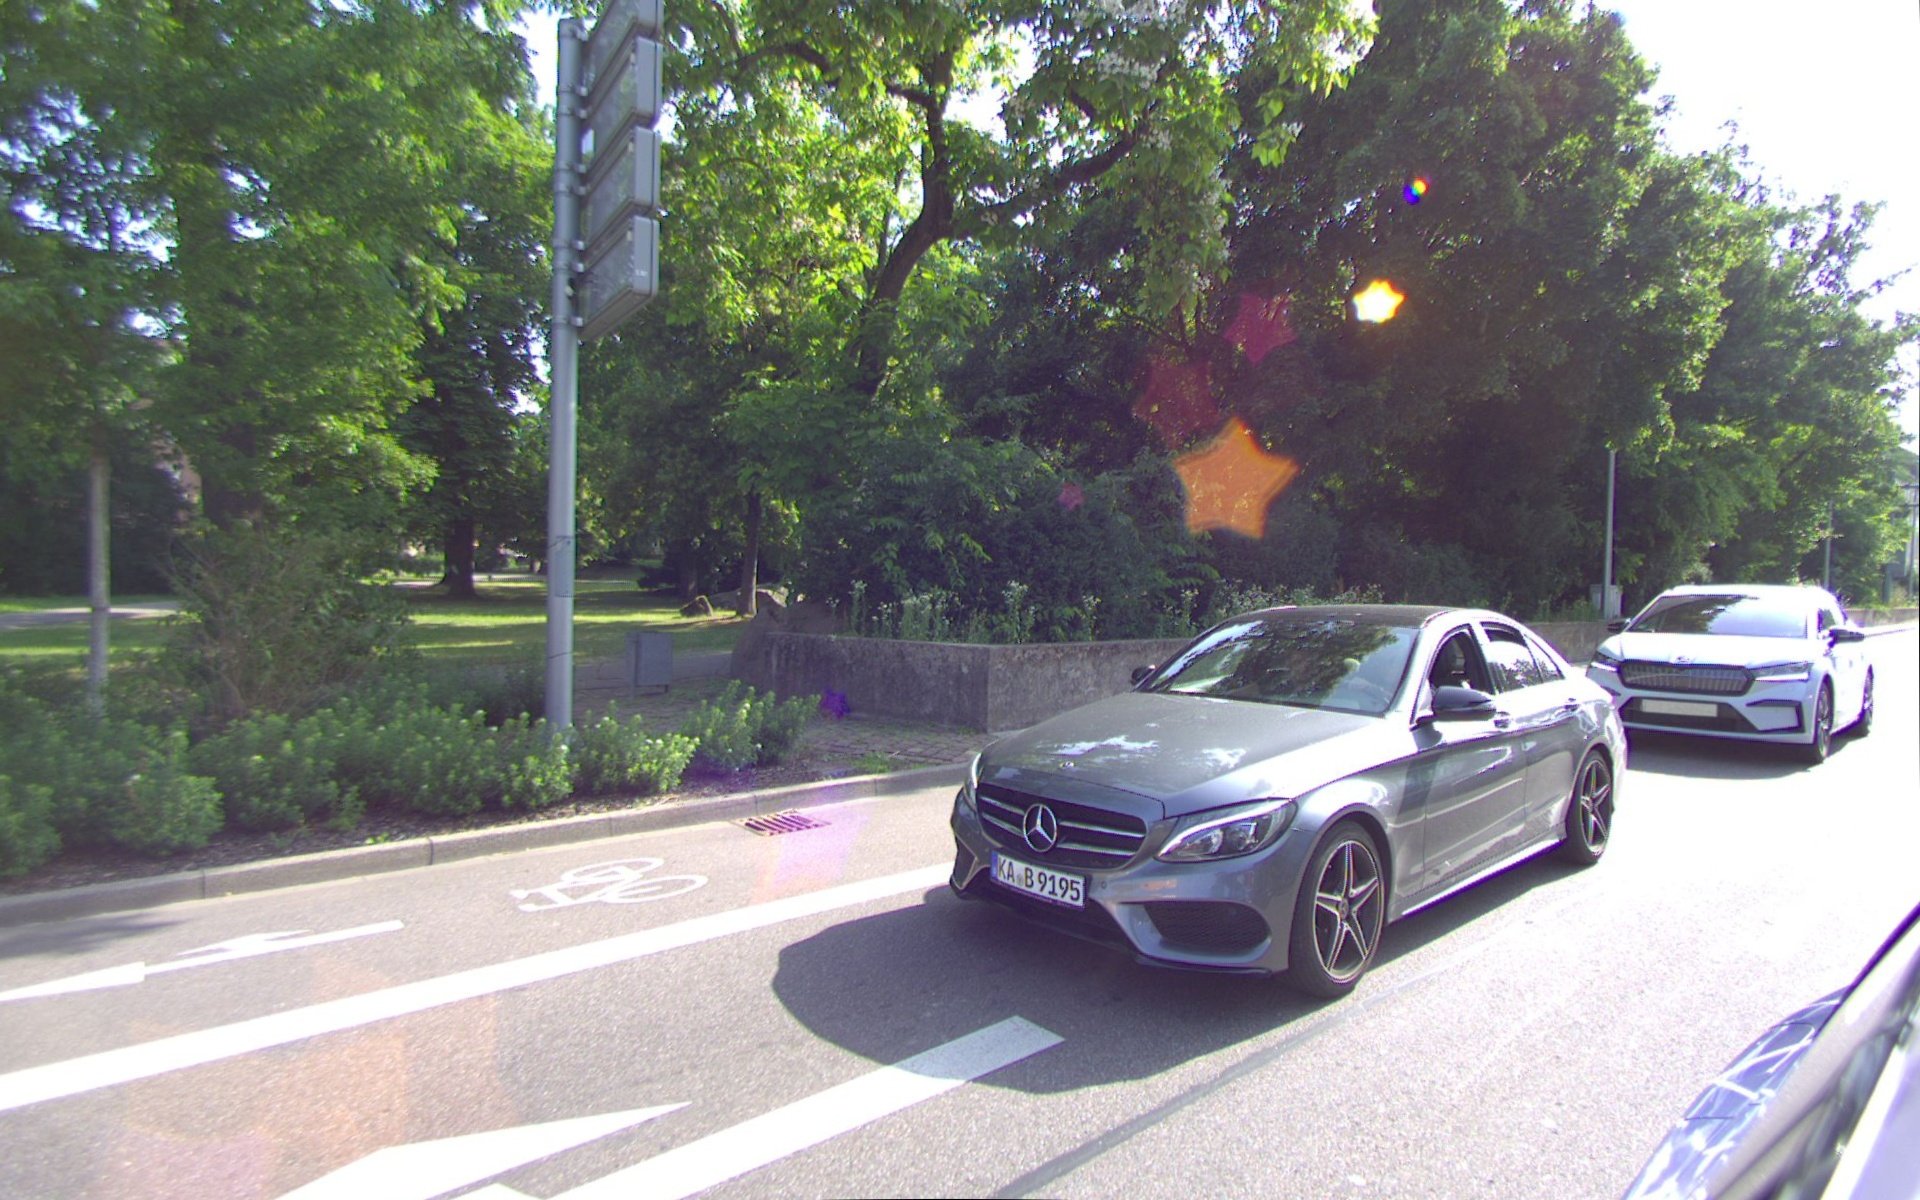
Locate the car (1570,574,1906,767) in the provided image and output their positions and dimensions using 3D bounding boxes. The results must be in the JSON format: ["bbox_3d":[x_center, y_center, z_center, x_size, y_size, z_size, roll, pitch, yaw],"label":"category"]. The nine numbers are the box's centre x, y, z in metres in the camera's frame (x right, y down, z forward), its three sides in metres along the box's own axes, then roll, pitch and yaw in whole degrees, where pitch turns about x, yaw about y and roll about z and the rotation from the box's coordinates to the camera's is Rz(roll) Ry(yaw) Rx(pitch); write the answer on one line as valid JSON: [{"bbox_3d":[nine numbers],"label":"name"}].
[{"bbox_3d":[8.108,0.549,10.412,4.175,1.590,1.896,0,1,-40],"label":"car"}]
